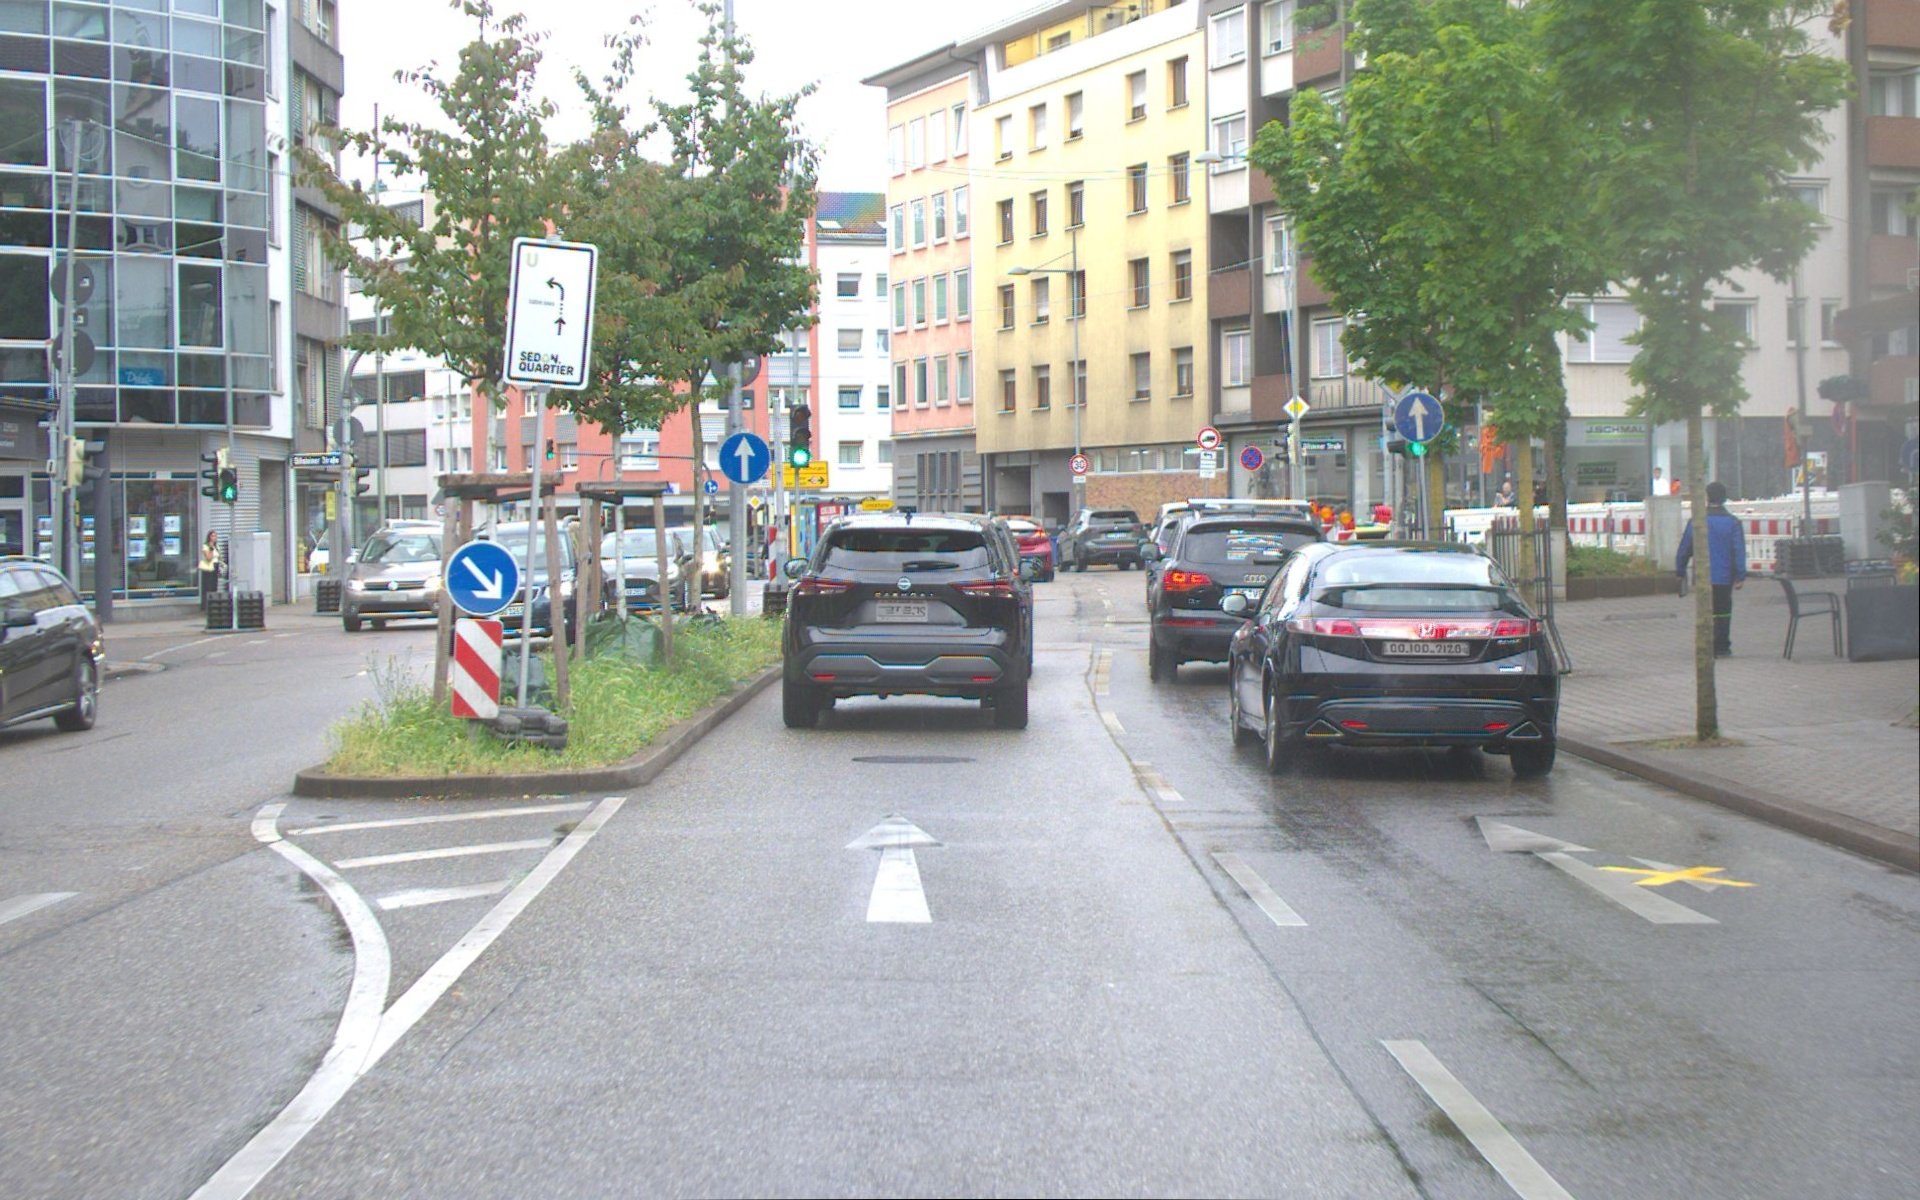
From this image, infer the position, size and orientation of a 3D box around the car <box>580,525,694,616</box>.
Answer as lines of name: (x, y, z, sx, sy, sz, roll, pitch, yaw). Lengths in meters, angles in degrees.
car: (-5.495, -0.533, 58.797, 1.532, 1.408, 3.937, -3, 1, 0)

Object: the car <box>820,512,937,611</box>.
car: (-1.233, -0.597, 51.511, 1.641, 1.376, 3.349, -2, 1, -2)

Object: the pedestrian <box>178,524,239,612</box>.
pedestrian: (-13.858, -0.586, 63.386, 0.781, 1.585, 0.763, -3, 2, -37)

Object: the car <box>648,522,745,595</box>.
car: (-5.268, -0.847, 69.050, 1.670, 1.365, 3.753, -2, 1, -1)

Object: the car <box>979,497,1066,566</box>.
car: (1.313, -1.467, 73.443, 1.641, 1.376, 3.349, -2, 1, -2)

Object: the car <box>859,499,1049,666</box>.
car: (-0.056, -0.213, 35.291, 1.823, 1.595, 3.719, 1, 1, 0)

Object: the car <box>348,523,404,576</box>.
car: (-16.839, -1.473, 99.048, 1.455, 1.425, 3.371, 1, 2, -11)

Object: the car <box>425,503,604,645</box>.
car: (-5.651, -0.368, 44.015, 1.683, 1.655, 4.096, -3, 1, 0)

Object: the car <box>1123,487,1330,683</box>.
car: (2.613, -0.203, 34.477, 1.830, 1.799, 3.719, 1, 2, 1)

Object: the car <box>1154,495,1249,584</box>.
car: (4.831, -1.245, 69.072, 1.830, 1.678, 3.718, 1, 2, 3)

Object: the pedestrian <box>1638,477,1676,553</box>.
pedestrian: (16.284, -1.983, 80.317, 0.528, 1.763, 0.623, 0, 2, -30)

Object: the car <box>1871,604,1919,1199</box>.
car: (2.544, 0.756, 4.317, 1.665, 1.391, 3.867, -2, 2, -1)

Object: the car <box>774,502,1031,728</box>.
car: (-0.405, 0.061, 26.571, 1.823, 1.595, 3.719, 1, 1, 0)

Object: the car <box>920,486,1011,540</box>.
car: (0.123, -2.272, 90.403, 1.640, 1.340, 3.349, -2, 1, -13)

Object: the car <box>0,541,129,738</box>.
car: (-8.157, 0.323, 27.626, 1.708, 1.463, 4.829, -3, 1, 0)

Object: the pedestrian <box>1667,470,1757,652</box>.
pedestrian: (7.399, -0.390, 33.809, 0.792, 1.749, 0.871, -2, 1, 13)

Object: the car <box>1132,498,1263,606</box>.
car: (3.657, -0.778, 53.521, 1.830, 1.557, 3.719, 1, 2, 1)

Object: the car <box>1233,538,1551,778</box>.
car: (2.707, 0.307, 22.261, 1.787, 1.395, 3.718, 0, 1, 3)

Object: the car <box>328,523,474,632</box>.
car: (-8.832, -0.393, 54.597, 1.632, 1.586, 3.937, -3, 1, -1)

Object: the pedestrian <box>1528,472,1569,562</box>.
pedestrian: (13.301, -1.879, 77.699, 0.822, 2.006, 0.839, 2, 2, 8)

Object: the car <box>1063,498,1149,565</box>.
car: (3.695, -1.759, 87.491, 1.708, 1.605, 3.729, 1, 2, -4)

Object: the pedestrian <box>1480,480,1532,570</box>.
pedestrian: (12.364, -1.697, 77.905, 0.821, 2.006, 0.840, 1, 2, -19)
